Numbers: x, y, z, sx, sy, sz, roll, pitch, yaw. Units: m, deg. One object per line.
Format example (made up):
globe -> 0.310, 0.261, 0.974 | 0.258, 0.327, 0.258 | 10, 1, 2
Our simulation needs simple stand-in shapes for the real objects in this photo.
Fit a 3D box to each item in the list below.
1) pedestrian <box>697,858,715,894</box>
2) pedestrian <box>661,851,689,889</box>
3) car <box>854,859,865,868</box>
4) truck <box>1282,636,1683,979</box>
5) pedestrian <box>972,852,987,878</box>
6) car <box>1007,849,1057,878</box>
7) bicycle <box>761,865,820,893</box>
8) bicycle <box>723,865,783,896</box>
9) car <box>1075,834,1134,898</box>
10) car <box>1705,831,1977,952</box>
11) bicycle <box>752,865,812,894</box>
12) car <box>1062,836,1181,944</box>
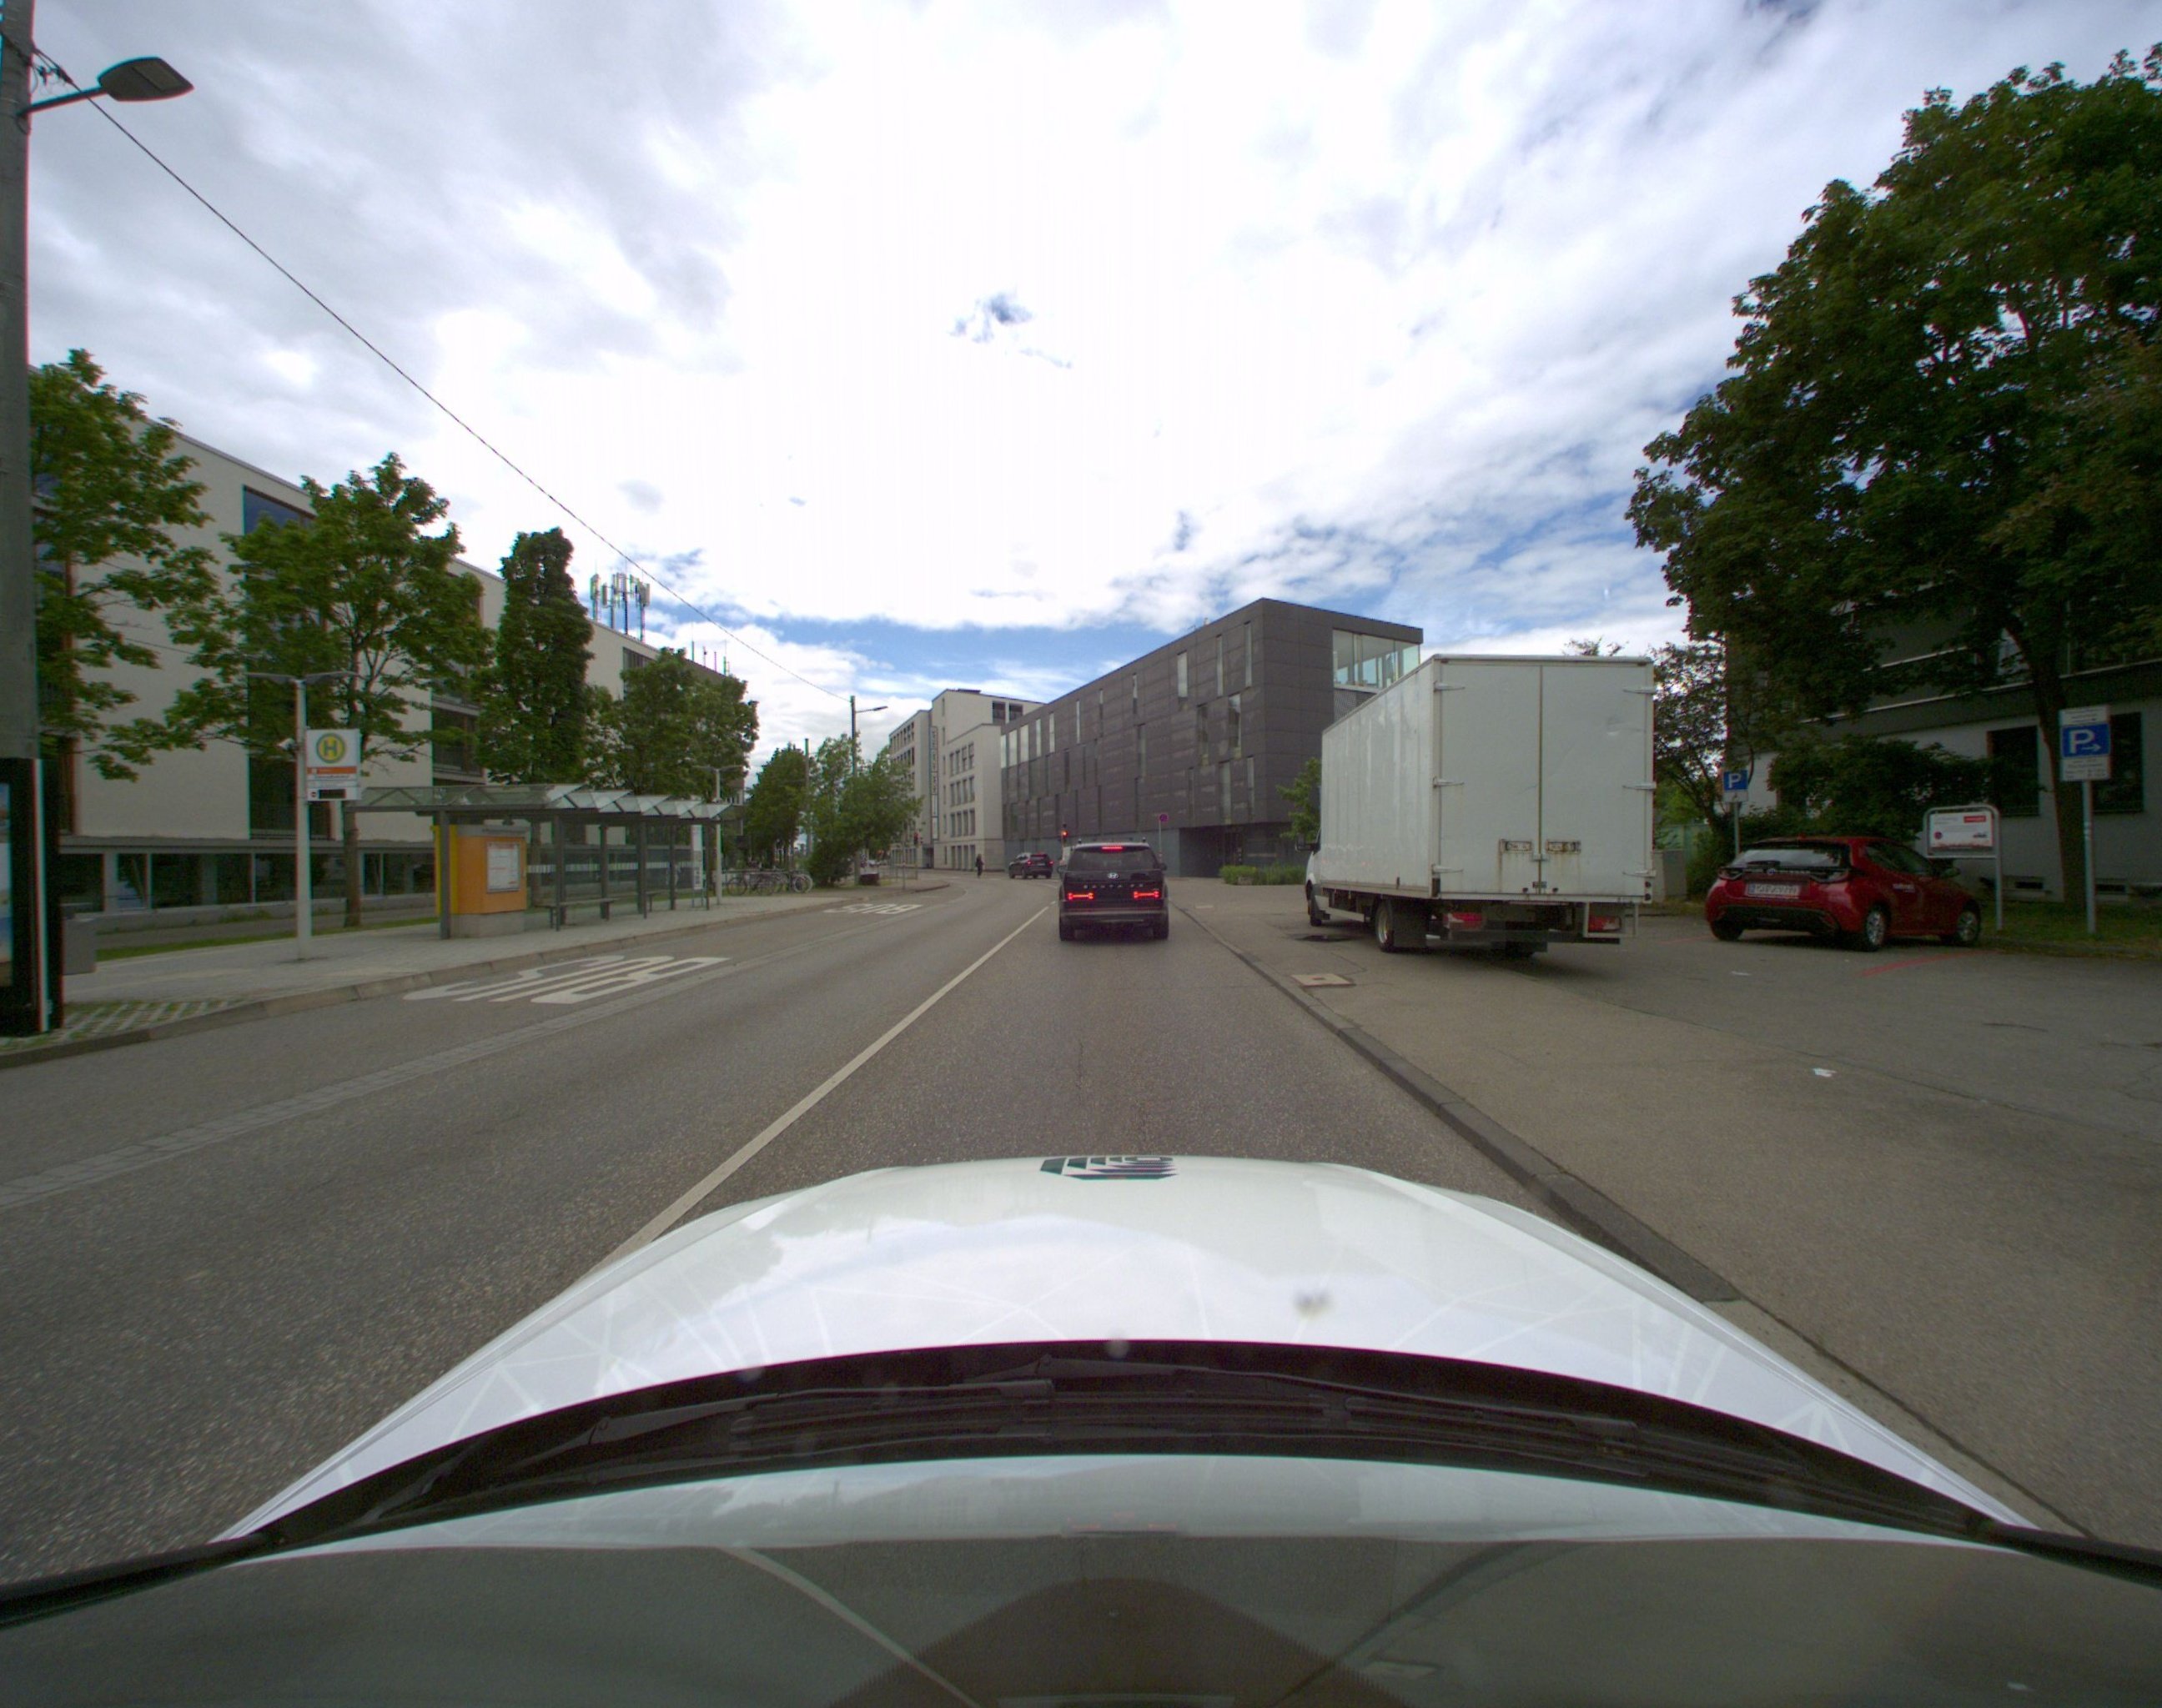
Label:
pedestrian -> -21.737, 1.260, 47.184 | 0.768, 2.014, 0.885 | 2, -1, -17
pedestrian -> -19.340, 0.767, 38.799 | 0.827, 1.765, 0.907 | 2, -1, 2
car -> -39.673, 1.713, 145.707 | 1.903, 1.486, 3.978 | -1, 0, -16
truck -> 5.161, -0.488, 12.438 | 2.562, 3.525, 7.816 | -1, 0, 3
pedestrian -> -7.126, 0.747, 57.112 | 0.938, 1.801, 0.589 | -1, 0, -10
car -> -3.192, 0.621, 52.145 | 1.855, 1.677, 4.342 | -2, 0, -22
bicycle -> -11.555, 0.979, 32.417 | 2.090, 1.106, 0.632 | 0, 0, 3
bicycle -> -11.841, 0.941, 29.426 | 1.921, 1.106, 0.587 | 0, 0, 2
car -> 0.829, 0.370, 28.755 | 1.848, 2.033, 4.439 | -1, 0, 2
car -> 10.563, 0.472, 11.307 | 3.511, 1.455, 1.666 | 1, -1, -27
bicycle -> -11.624, 0.970, 31.650 | 2.090, 1.106, 0.632 | 0, 0, 2
car -> 0.618, 0.583, 15.165 | 1.909, 1.725, 4.168 | 0, 0, -1
